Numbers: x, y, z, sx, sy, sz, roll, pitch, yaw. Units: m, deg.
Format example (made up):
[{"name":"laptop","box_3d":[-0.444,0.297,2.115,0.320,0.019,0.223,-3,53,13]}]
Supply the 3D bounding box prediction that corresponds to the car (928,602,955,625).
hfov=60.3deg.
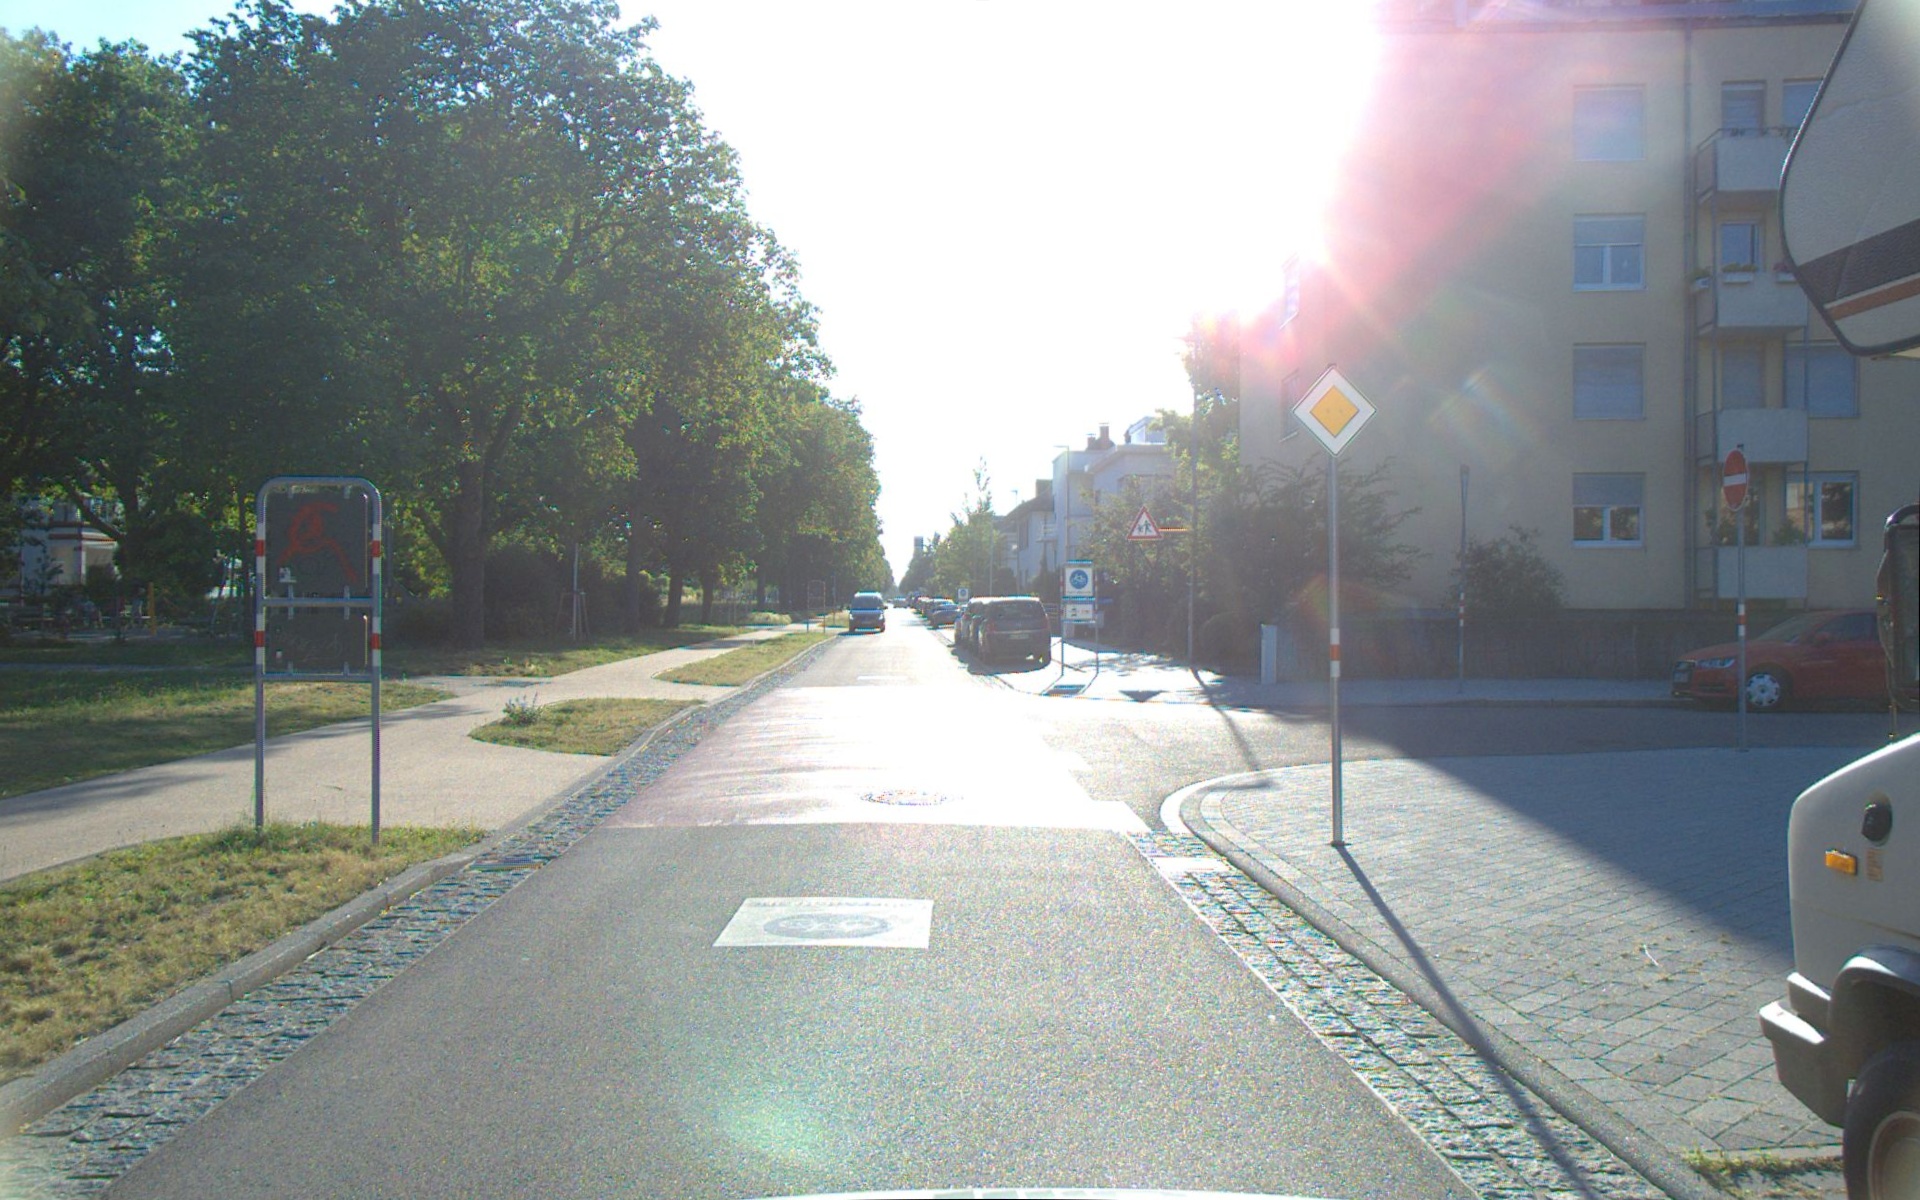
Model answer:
[{"name":"car","box_3d":[-1.232,0.861,107.720,1.594,1.434,4.247,0,0,-2]}]

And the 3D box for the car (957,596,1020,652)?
[{"name":"car","box_3d":[0.906,0.770,53.744,1.952,1.747,4.000,0,0,1]}]

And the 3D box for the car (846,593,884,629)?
[{"name":"car","box_3d":[-4.626,0.546,81.228,1.789,1.698,4.247,0,0,-2]}]

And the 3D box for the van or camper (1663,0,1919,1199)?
[{"name":"van or camper","box_3d":[3.010,-0.038,1.389,2.189,2.955,5.669,0,-1,-3]}]

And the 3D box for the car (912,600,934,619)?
[{"name":"car","box_3d":[-2.843,0.702,127.519,1.594,1.434,4.247,0,0,-2]}]

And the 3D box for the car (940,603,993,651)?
[{"name":"car","box_3d":[0.252,1.006,63.295,1.952,1.747,4.000,0,0,1]}]

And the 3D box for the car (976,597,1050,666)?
[{"name":"car","box_3d":[1.311,0.784,42.679,1.594,1.698,4.247,0,0,-2]}]

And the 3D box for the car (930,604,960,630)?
[{"name":"car","box_3d":[-0.888,0.990,96.299,1.594,1.434,4.247,0,0,-2]}]

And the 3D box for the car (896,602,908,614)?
[{"name":"car","box_3d":[-8.401,1.129,239.716,1.594,1.698,4.247,0,0,-2]}]

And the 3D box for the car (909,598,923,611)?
[{"name":"car","box_3d":[-5.210,0.546,195.970,1.594,1.434,4.247,0,0,-2]}]

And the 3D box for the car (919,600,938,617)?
[{"name":"car","box_3d":[-2.734,0.768,143.940,1.594,1.434,4.247,0,0,-2]}]

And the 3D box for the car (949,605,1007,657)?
[{"name":"car","box_3d":[0.642,1.073,58.584,1.952,1.747,4.000,0,0,1]}]

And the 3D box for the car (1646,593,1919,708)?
[{"name":"car","box_3d":[12.285,0.694,23.693,4.108,1.557,2.000,0,-1,2]}]
